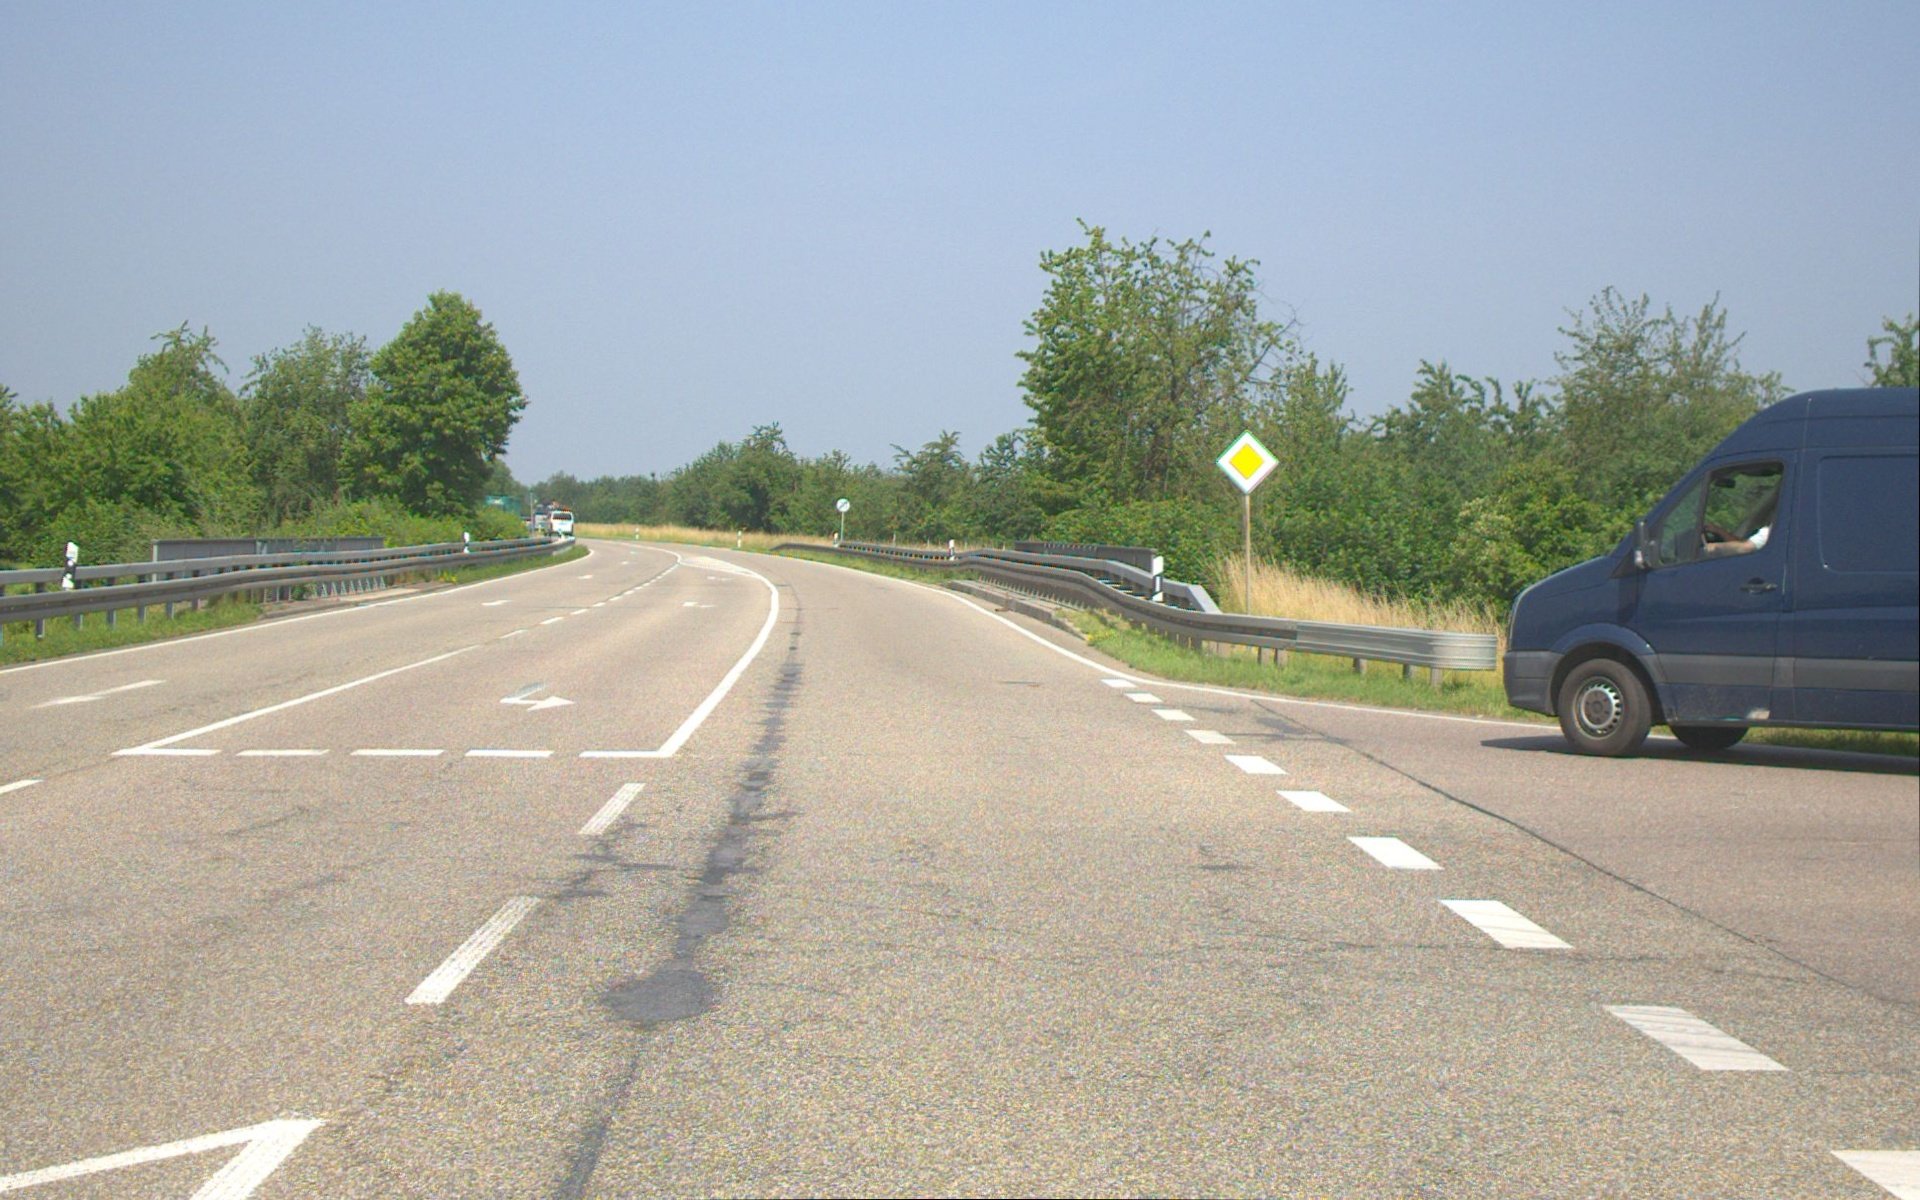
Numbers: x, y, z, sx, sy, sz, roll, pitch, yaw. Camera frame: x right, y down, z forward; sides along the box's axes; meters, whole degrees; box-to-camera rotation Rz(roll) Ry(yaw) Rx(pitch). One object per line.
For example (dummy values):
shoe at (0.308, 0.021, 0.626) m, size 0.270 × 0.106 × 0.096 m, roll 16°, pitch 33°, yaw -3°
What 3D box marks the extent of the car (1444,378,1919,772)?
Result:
car at (6.621, -0.175, 23.368) m, size 6.305 × 2.566 × 2.058 m, roll 2°, pitch 1°, yaw 35°
